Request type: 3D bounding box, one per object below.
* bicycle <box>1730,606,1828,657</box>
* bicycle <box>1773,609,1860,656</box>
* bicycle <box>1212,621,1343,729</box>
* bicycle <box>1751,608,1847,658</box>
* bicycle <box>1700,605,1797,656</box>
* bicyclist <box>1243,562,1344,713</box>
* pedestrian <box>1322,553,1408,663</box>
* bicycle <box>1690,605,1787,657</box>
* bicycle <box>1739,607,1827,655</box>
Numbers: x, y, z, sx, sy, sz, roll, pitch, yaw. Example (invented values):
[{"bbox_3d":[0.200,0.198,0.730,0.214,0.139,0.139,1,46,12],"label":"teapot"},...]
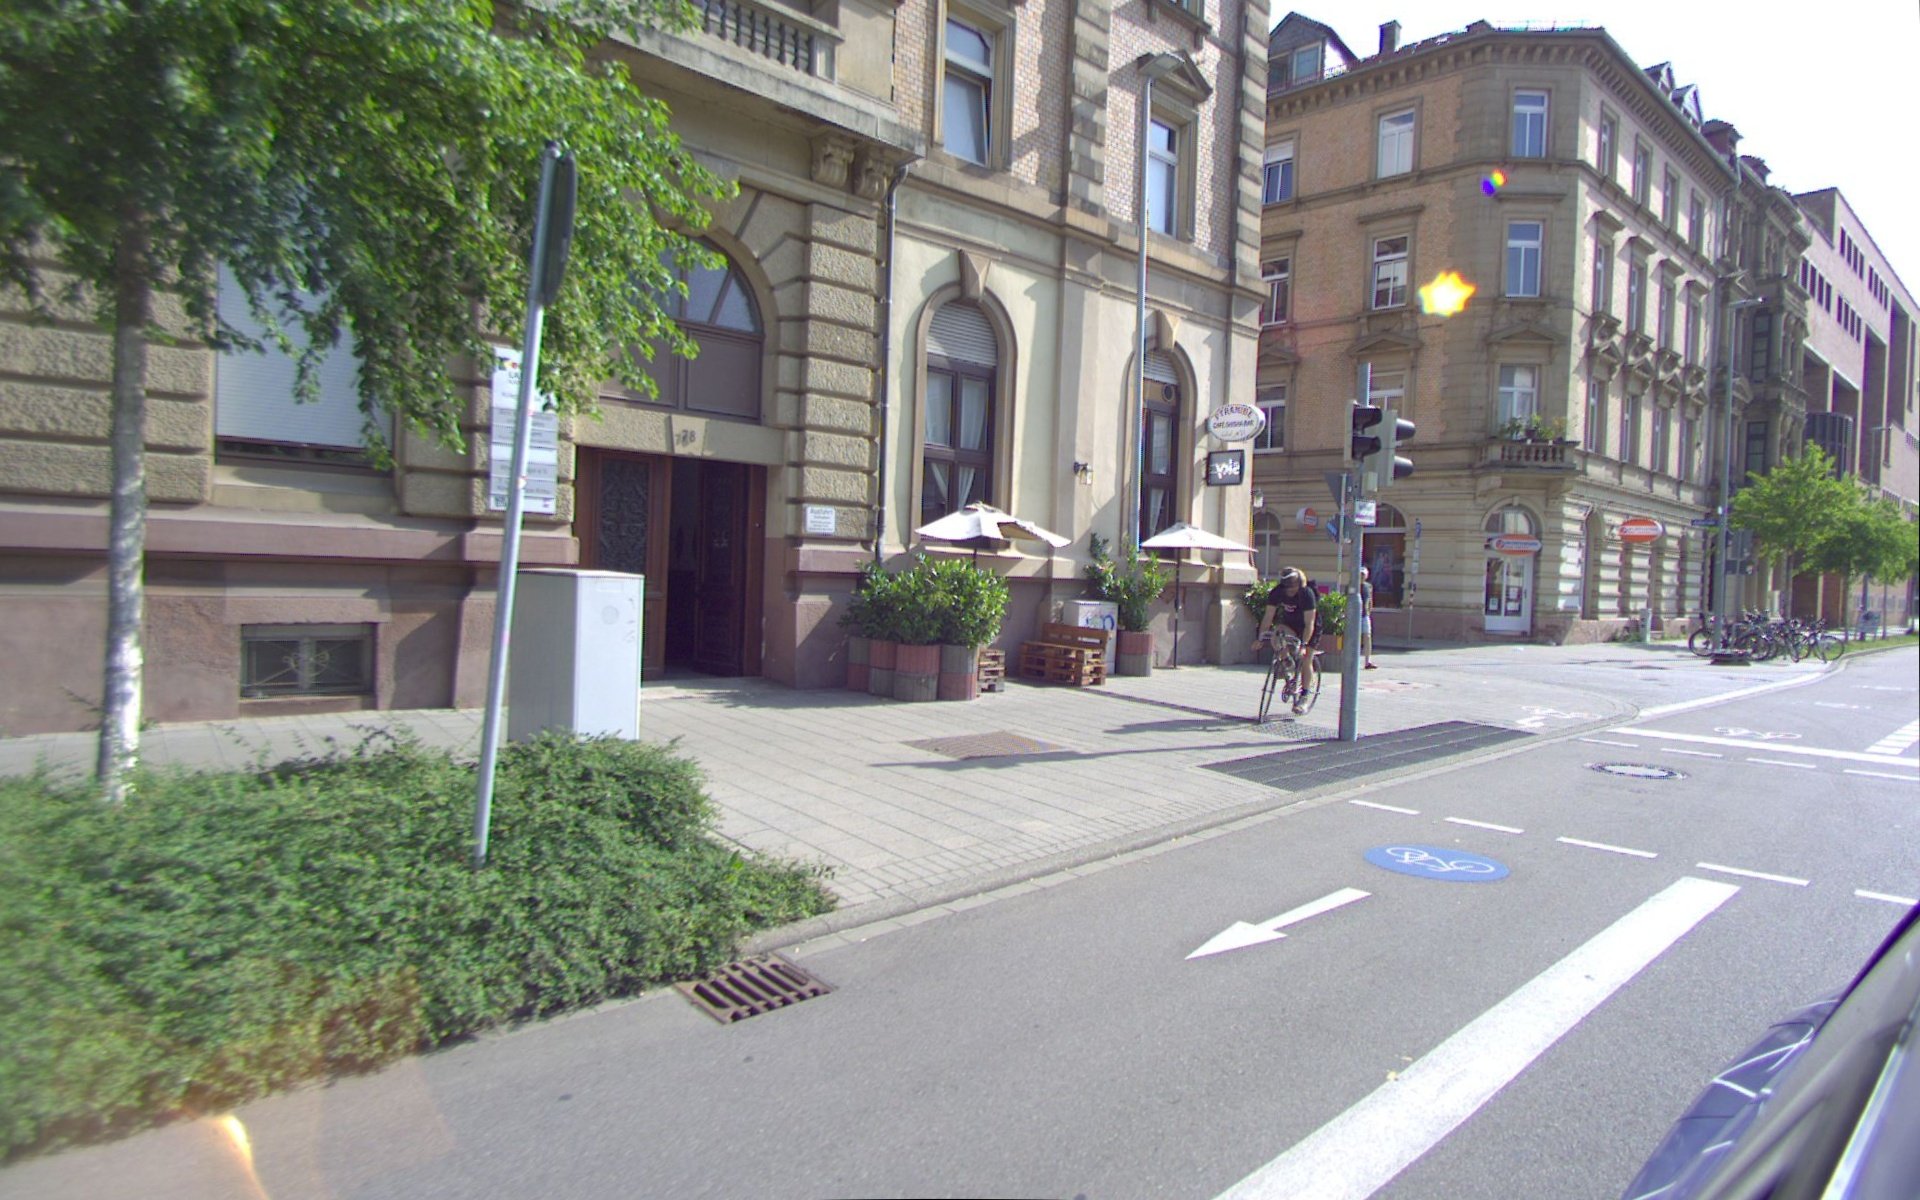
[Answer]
[{"bbox_3d":[20.783,0.783,25.715,0.656,1.100,1.763,2,4,-35],"label":"bicycle"},{"bbox_3d":[23.949,0.887,28.326,1.755,1.100,0.602,7,5,41],"label":"bicycle"},{"bbox_3d":[3.348,0.741,10.576,1.756,0.964,0.506,0,4,-45],"label":"bicycle"},{"bbox_3d":[22.000,0.853,26.572,1.745,1.100,0.666,6,4,28],"label":"bicycle"},{"bbox_3d":[19.631,0.742,25.227,0.572,1.100,1.759,1,3,-37],"label":"bicycle"},{"bbox_3d":[3.540,0.366,10.732,0.916,1.500,0.584,0,4,-45],"label":"bicyclist"},{"bbox_3d":[7.109,0.132,17.785,0.972,1.828,0.866,4,1,-12],"label":"pedestrian"},{"bbox_3d":[19.132,0.743,24.903,0.572,1.100,1.759,1,3,-37],"label":"bicycle"},{"bbox_3d":[22.493,0.836,27.674,1.755,1.100,0.648,7,5,41],"label":"bicycle"}]
